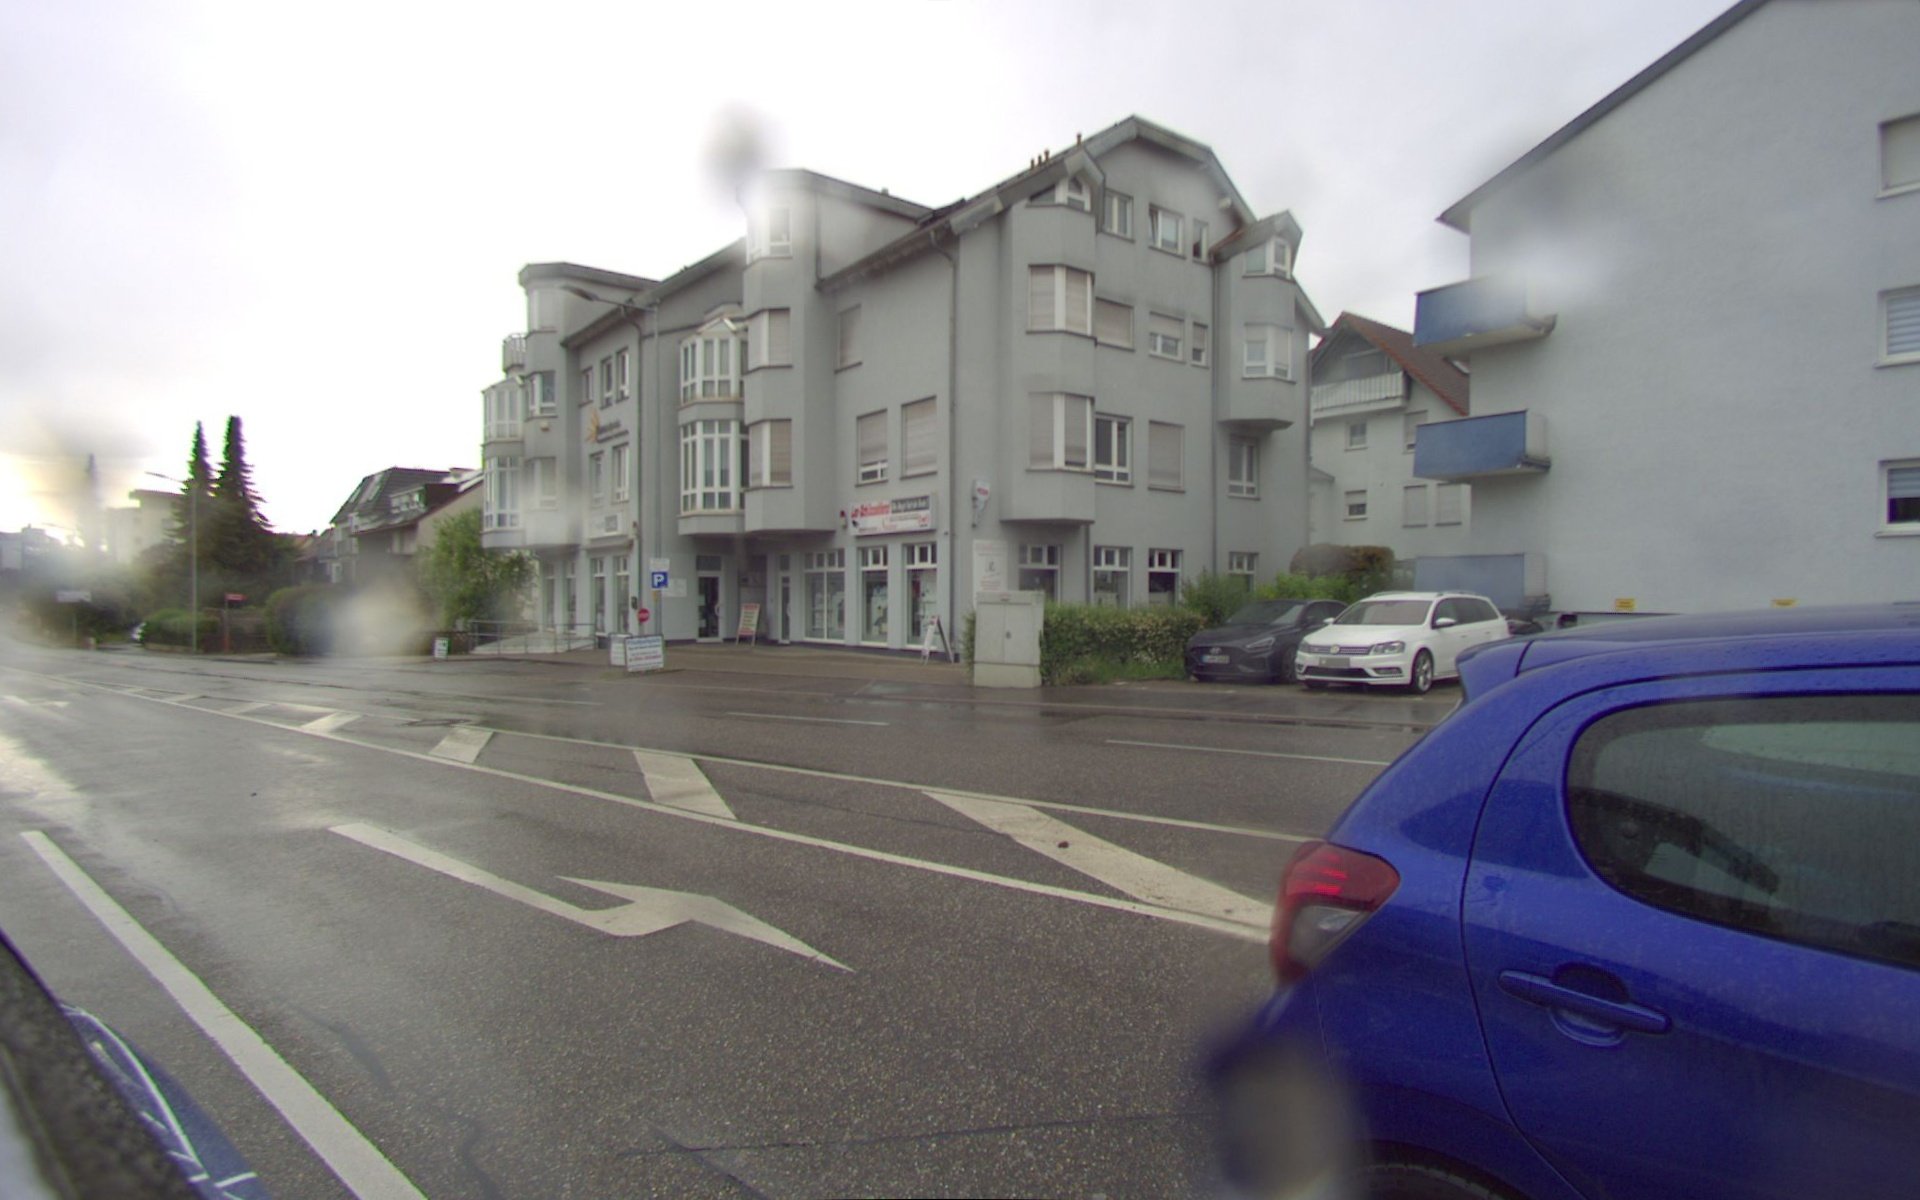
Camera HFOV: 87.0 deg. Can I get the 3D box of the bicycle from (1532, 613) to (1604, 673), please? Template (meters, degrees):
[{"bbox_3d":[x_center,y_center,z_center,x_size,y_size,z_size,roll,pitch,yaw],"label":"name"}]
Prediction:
[{"bbox_3d":[11.148,0.789,18.567,1.065,1.061,0.343,-2,-1,41],"label":"bicycle"}]

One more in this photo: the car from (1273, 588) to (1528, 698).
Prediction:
[{"bbox_3d":[6.987,0.601,15.811,4.685,1.471,1.883,0,-2,-42],"label":"car"}]

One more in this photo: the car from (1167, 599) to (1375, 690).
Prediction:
[{"bbox_3d":[5.498,0.687,17.655,1.851,1.366,3.941,-1,0,45],"label":"car"}]

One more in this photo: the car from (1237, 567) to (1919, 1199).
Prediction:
[{"bbox_3d":[2.242,0.643,1.202,3.362,1.423,1.489,-2,-1,41],"label":"car"}]
